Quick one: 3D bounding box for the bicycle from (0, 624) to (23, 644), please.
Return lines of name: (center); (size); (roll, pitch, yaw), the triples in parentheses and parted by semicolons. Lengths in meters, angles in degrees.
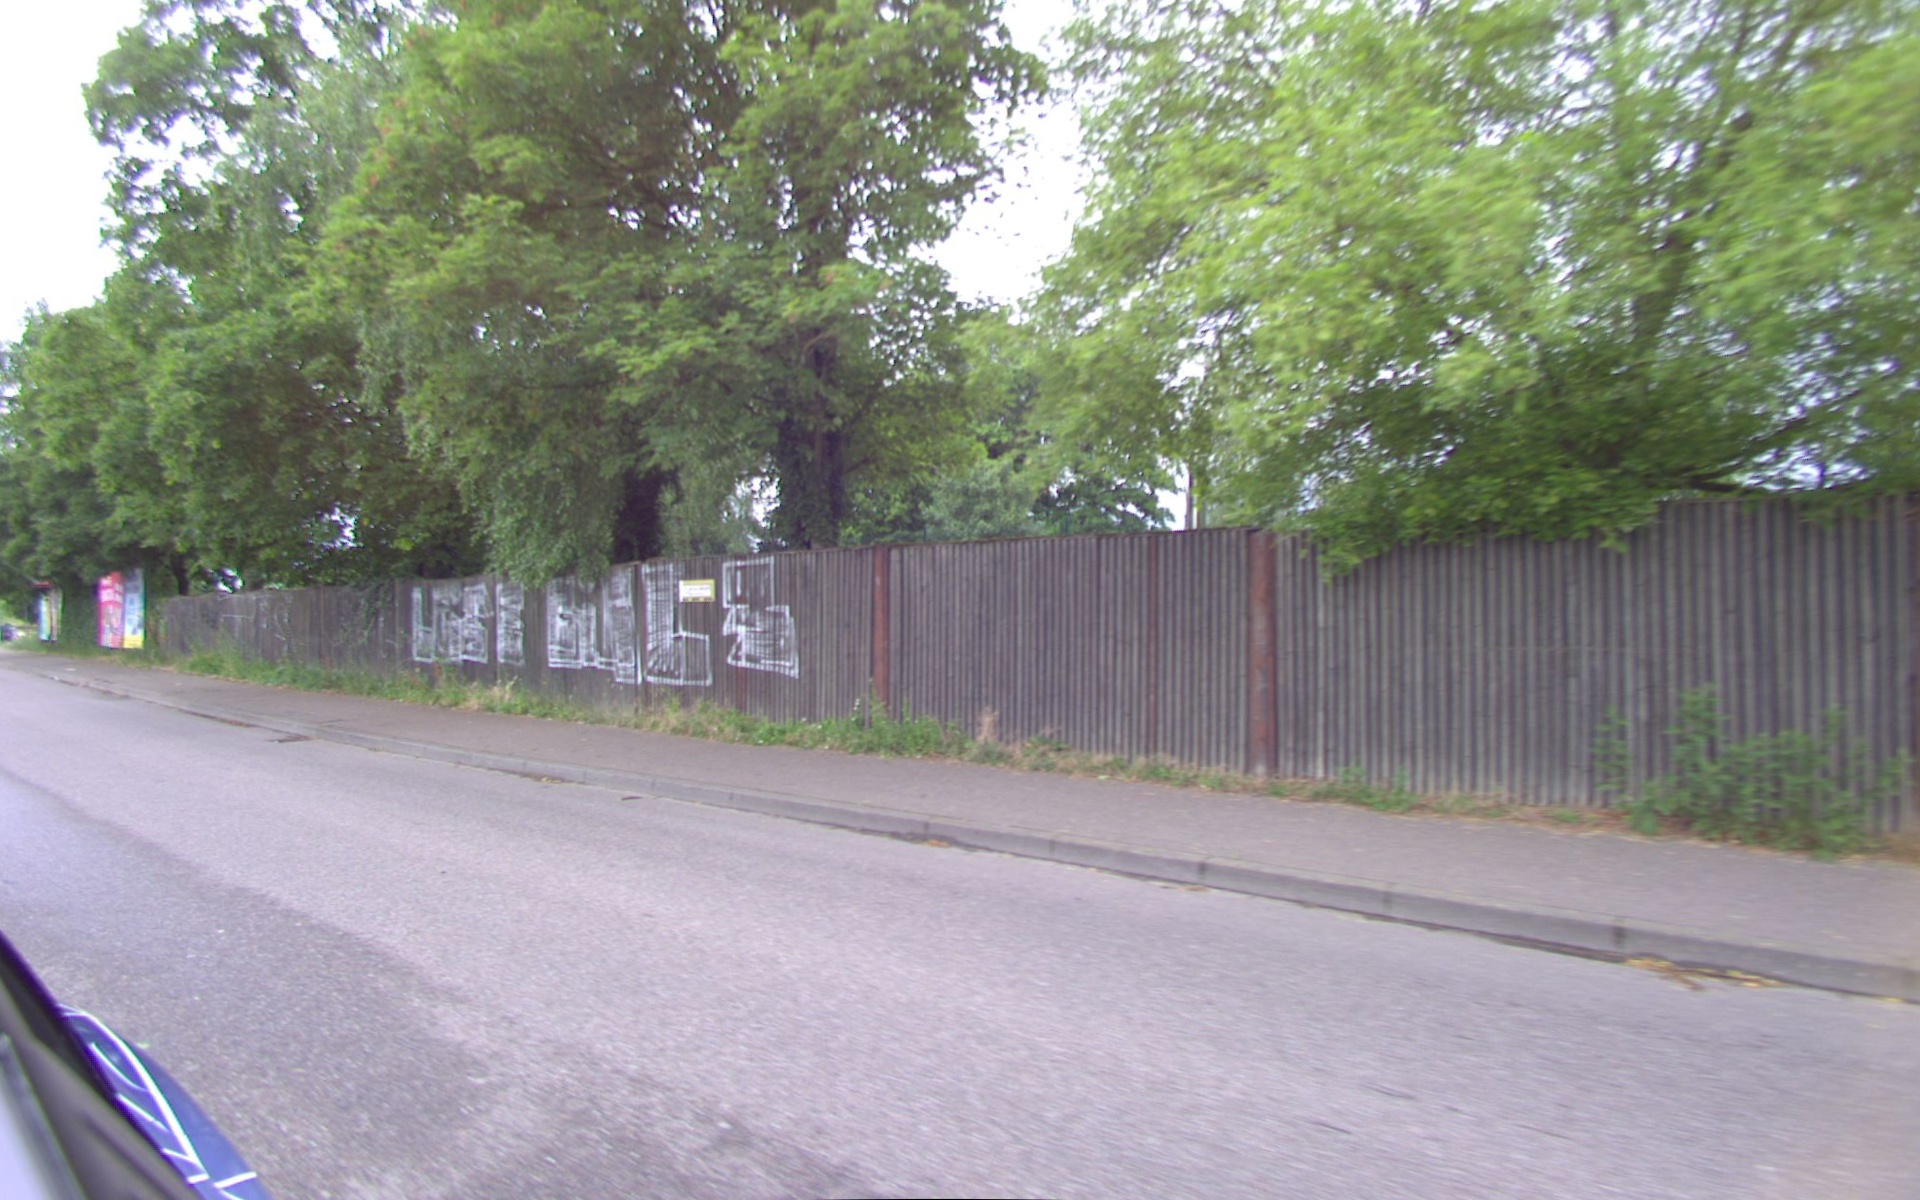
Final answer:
bicycle: (-52.075, 1.864, 55.340); (0.574, 1.006, 1.776); (-3, 1, -22)
